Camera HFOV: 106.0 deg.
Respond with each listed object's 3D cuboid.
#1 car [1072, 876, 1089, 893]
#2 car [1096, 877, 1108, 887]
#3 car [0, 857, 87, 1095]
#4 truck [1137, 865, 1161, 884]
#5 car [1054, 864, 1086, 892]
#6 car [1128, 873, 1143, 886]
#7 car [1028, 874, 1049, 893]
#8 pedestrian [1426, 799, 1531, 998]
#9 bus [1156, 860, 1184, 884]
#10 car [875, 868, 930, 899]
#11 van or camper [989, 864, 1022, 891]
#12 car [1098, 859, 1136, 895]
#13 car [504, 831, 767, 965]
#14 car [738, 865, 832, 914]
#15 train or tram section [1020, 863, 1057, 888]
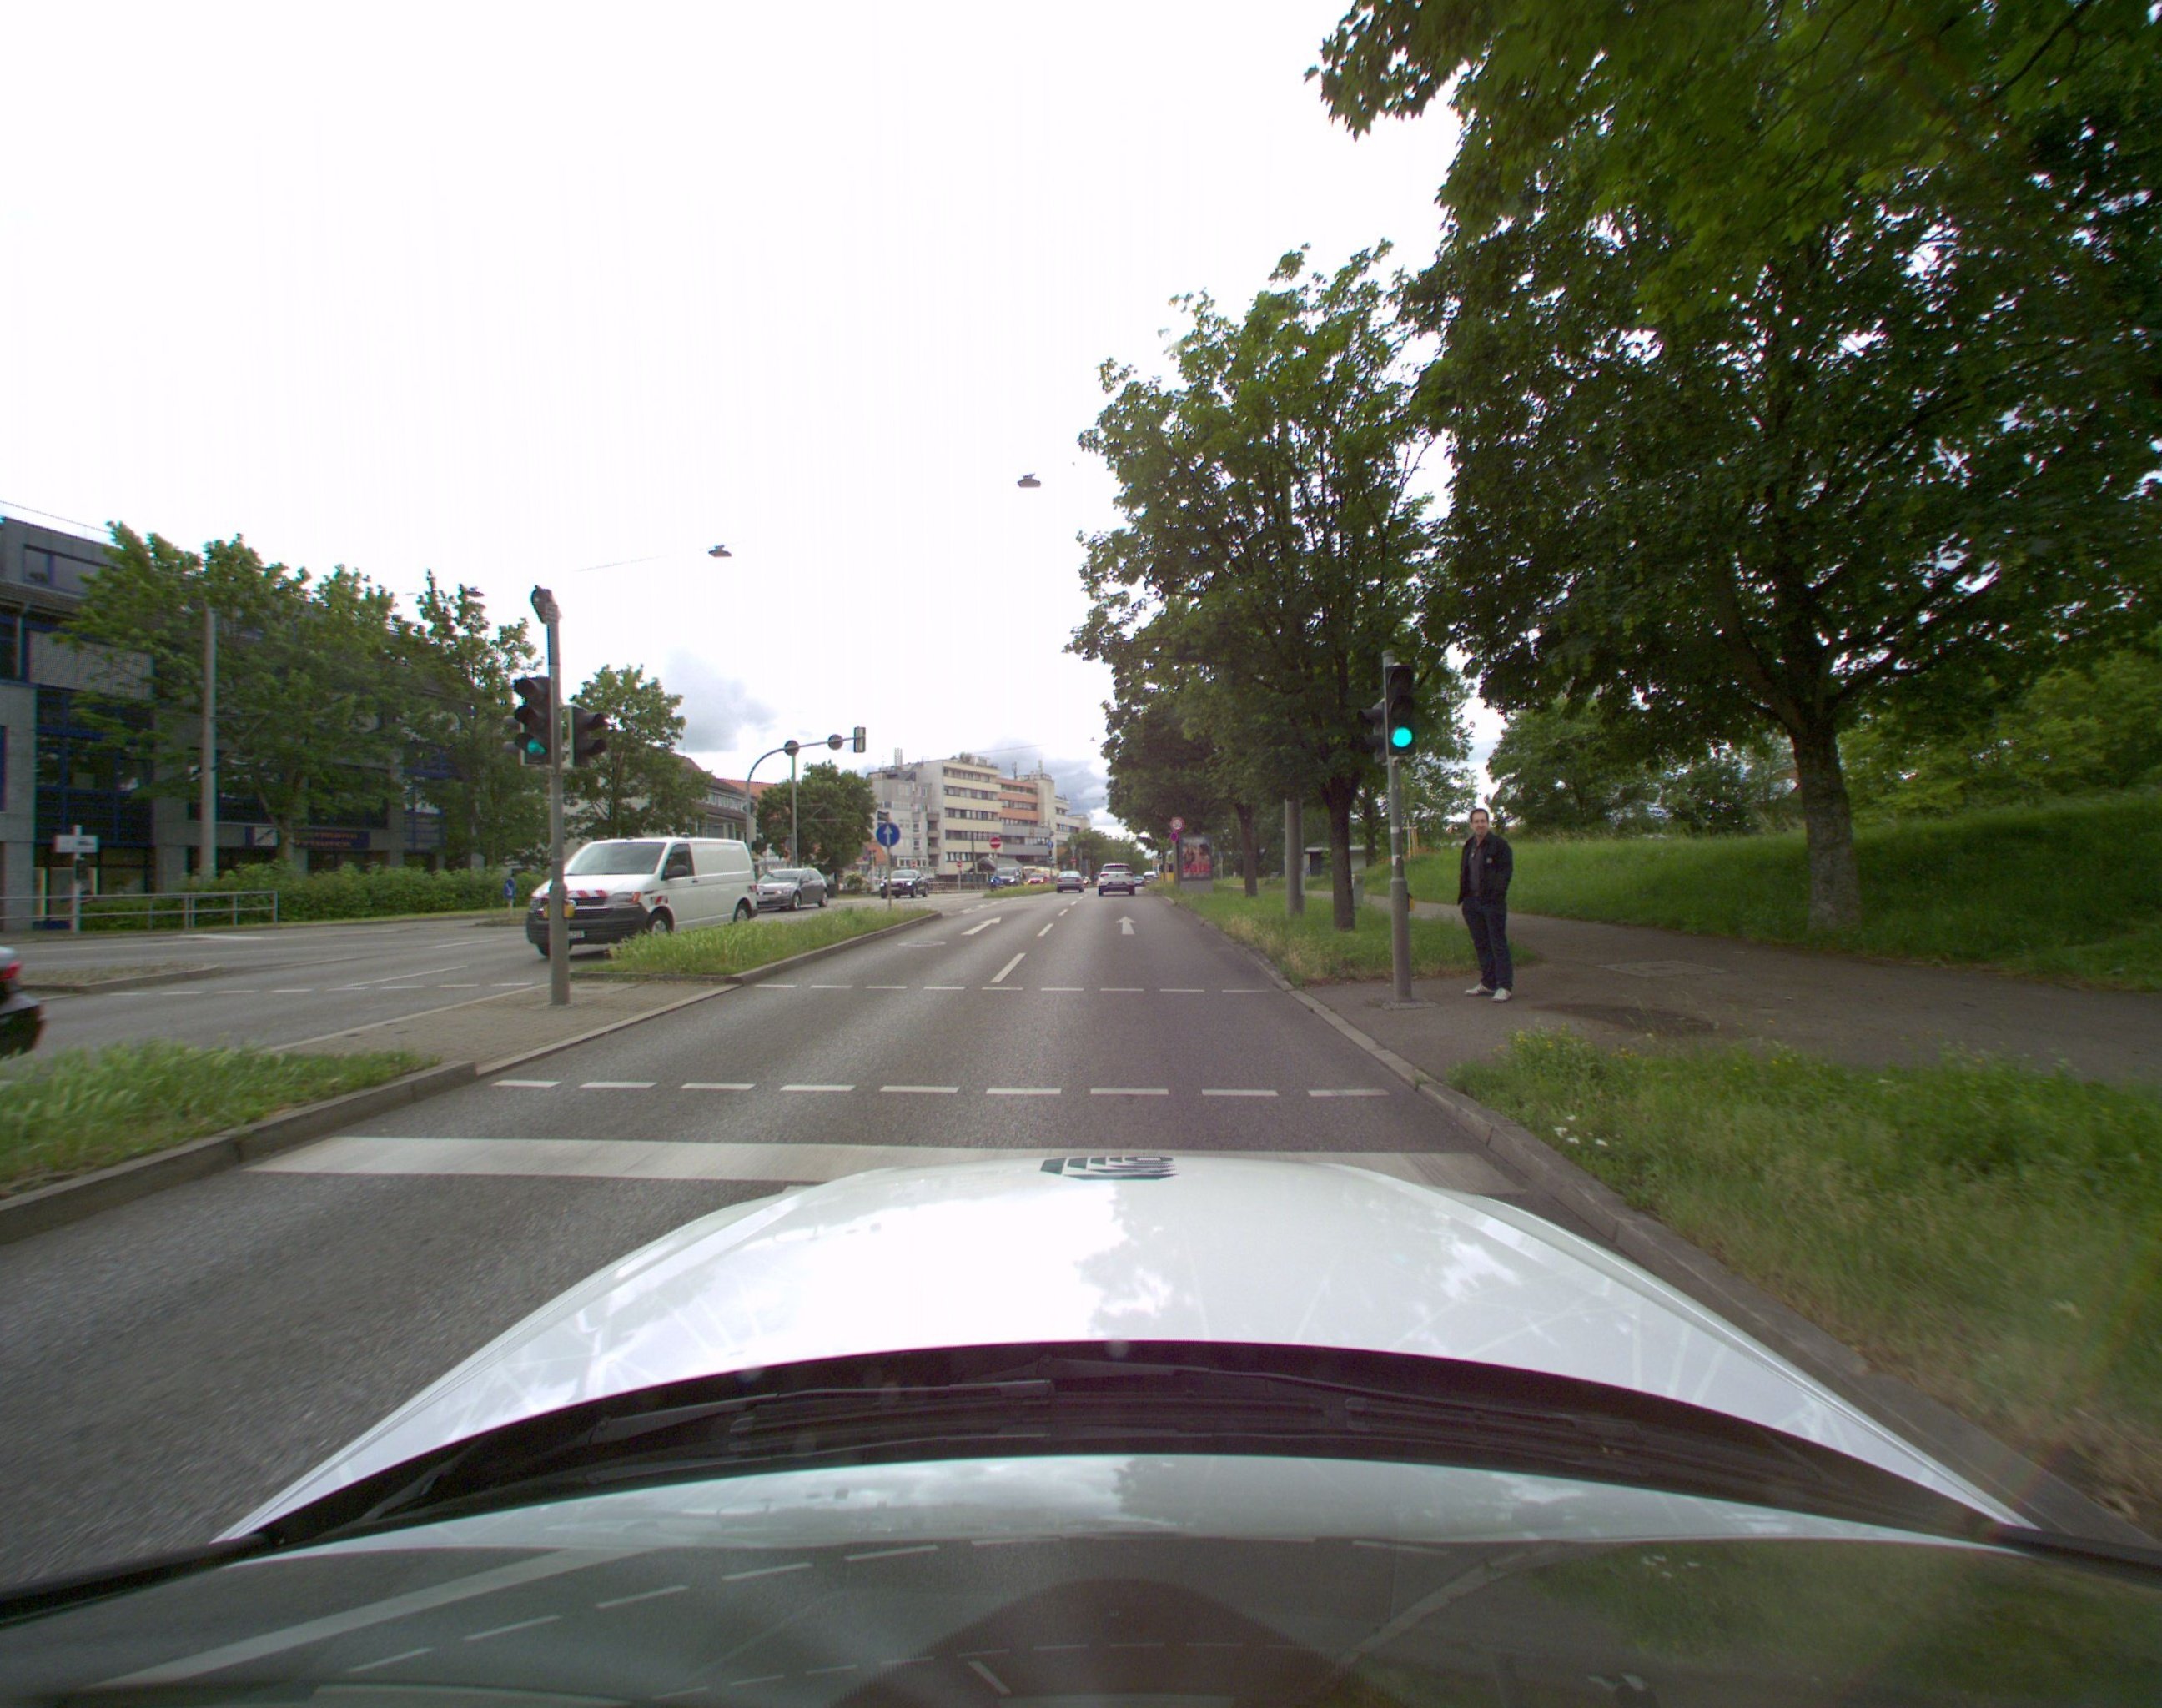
[{"bbox_3d":[-0.019,3.987,107.061,1.985,1.589,4.841,0,5,3],"label":"car"},{"bbox_3d":[3.186,4.221,122.113,1.607,1.446,3.655,-2,-3,3],"label":"car"},{"bbox_3d":[-7.631,0.816,3.267,1.772,1.481,4.479,-2,0,-1],"label":"car"},{"bbox_3d":[15.660,4.736,186.480,2.934,4.080,16.657,-2,-2,13],"label":"truck"},{"bbox_3d":[-0.660,1.536,52.773,1.692,1.515,3.742,-1,2,5],"label":"car"},{"bbox_3d":[7.533,3.502,113.001,1.765,1.570,4.284,-2,1,-1],"label":"car"},{"bbox_3d":[-4.997,3.453,96.109,1.985,2.013,4.838,0,1,3],"label":"car"},{"bbox_3d":[3.889,0.410,8.002,0.641,1.856,0.672,-2,0,-4],"label":"pedestrian"},{"bbox_3d":[12.546,2.538,113.857,2.934,3.191,9.958,-2,-2,11],"label":"bus"},{"bbox_3d":[-9.428,1.537,43.368,1.854,1.428,4.003,-2,0,3],"label":"car"},{"bbox_3d":[-5.660,1.759,61.536,1.919,1.938,5.249,0,-1,1],"label":"van or camper"},{"bbox_3d":[1.848,1.093,40.461,1.692,1.548,3.741,1,1,5],"label":"car"},{"bbox_3d":[-7.612,0.643,14.630,1.828,2.002,4.861,-1,0,3],"label":"car"},{"bbox_3d":[-10.079,1.163,28.062,1.739,1.464,3.999,-3,-1,0],"label":"car"},{"bbox_3d":[-6.273,3.317,123.608,2.543,3.411,13.117,-2,-2,10],"label":"train or tram section"}]
